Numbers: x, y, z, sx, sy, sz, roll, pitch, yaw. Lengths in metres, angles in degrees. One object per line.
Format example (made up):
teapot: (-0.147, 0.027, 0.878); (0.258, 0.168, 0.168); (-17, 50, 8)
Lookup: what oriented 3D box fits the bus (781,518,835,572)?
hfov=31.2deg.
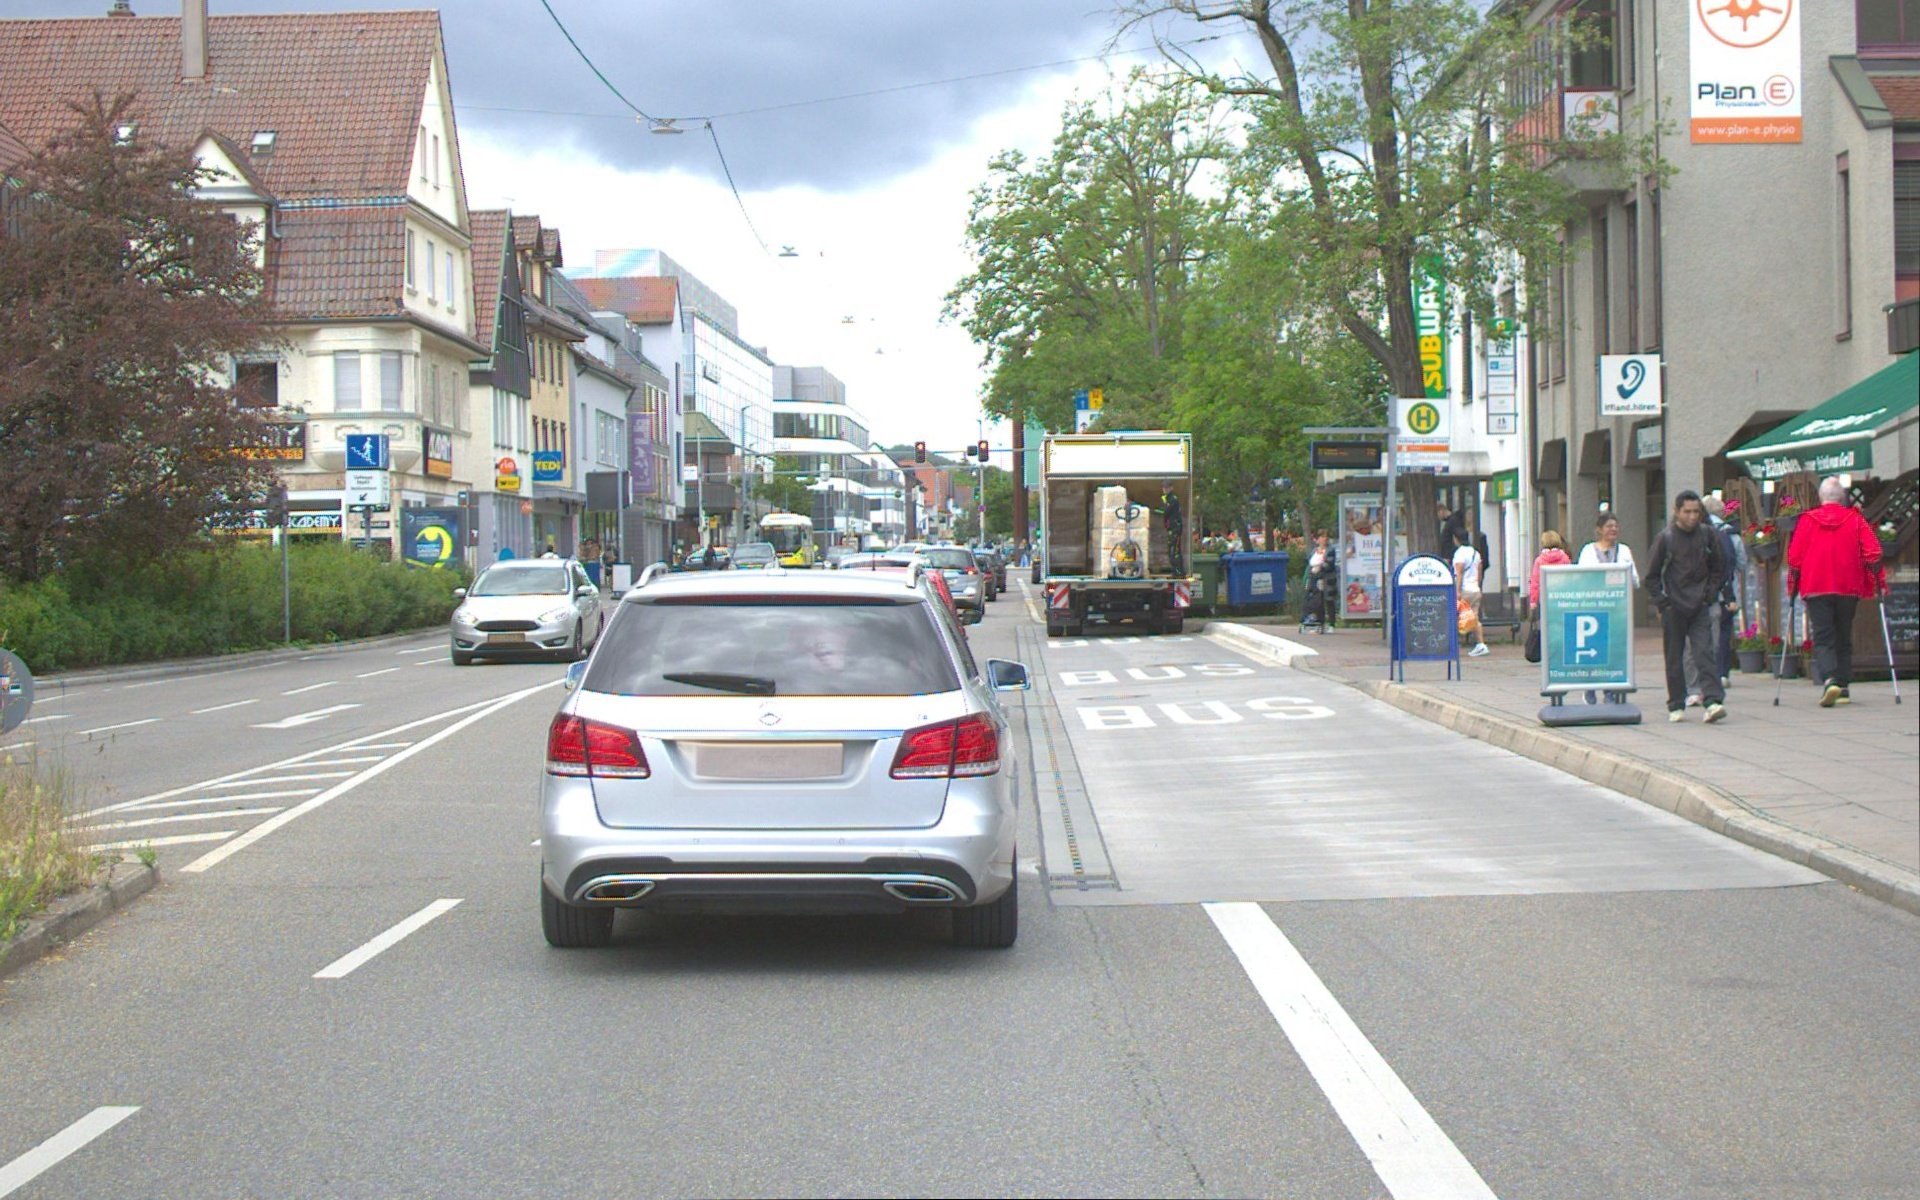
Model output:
bus: (-9.055, -3.303, 205.161); (2.775, 3.154, 5.933); (0, 1, 1)

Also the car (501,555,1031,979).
car: (-0.724, 0.569, 14.180); (1.874, 1.501, 4.000); (0, 1, -1)

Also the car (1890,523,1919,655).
car: (14.116, -0.135, 42.863); (4.605, 1.614, 1.880); (0, 1, 5)

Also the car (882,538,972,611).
car: (-0.748, -0.626, 81.187); (1.993, 1.678, 4.000); (0, 1, 1)

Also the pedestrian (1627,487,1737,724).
pedestrian: (5.213, 0.033, 24.836); (0.612, 1.672, 0.615); (3, 1, 3)

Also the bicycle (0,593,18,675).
bicycle: (-13.632, 0.457, 45.810); (2.017, 1.086, 0.649); (-1, 1, -9)

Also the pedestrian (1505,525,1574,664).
pedestrian: (6.656, -0.073, 39.461); (0.673, 1.562, 0.491); (2, 3, 21)

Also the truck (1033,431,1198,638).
truck: (2.774, -1.208, 63.876); (2.688, 3.549, 9.767); (0, 1, 1)

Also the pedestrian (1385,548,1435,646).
pedestrian: (6.543, -0.040, 49.949); (0.613, 1.396, 0.587); (-2, 0, 14)

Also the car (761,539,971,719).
car: (-0.798, 0.214, 31.437); (1.754, 1.515, 4.000); (-1, 1, 1)

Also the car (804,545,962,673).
car: (-1.011, 0.090, 47.325); (1.993, 1.678, 4.000); (0, 1, 1)

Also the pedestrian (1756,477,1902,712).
pedestrian: (6.633, -0.035, 26.271); (0.795, 1.736, 0.782); (-2, -1, -5)

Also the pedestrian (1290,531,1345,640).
pedestrian: (5.463, -0.224, 52.564); (0.534, 1.629, 0.588); (2, 1, -24)

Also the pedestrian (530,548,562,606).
pedestrian: (-11.803, -0.658, 98.109); (0.816, 1.629, 0.980); (2, 1, -4)

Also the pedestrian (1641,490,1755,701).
pedestrian: (5.808, -0.036, 27.077); (0.718, 1.629, 0.615); (-1, 0, -2)

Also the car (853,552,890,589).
car: (-3.813, -1.272, 147.851); (1.570, 1.535, 2.961); (1, 1, -2)

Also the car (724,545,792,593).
car: (-7.700, -1.197, 131.338); (2.069, 1.732, 4.692); (-2, 1, 3)

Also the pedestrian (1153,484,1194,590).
pedestrian: (3.614, -1.063, 58.186); (0.613, 1.774, 0.588); (-1, 0, -3)

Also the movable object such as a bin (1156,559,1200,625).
movable object such as a bin: (4.458, -0.172, 70.350); (0.881, 1.335, 1.085); (-1, 1, 3)

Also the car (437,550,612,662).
car: (-6.249, 0.068, 49.767); (1.874, 1.501, 4.343); (-2, 0, 1)

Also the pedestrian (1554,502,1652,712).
pedestrian: (5.102, 0.053, 27.297); (0.612, 1.629, 0.615); (-1, 0, -2)

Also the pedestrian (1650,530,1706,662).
pedestrian: (8.958, -0.057, 42.890); (0.586, 1.629, 0.615); (0, 1, 2)

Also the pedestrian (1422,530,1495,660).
pedestrian: (6.356, -0.074, 43.855); (0.613, 1.629, 0.794); (-1, 2, -21)

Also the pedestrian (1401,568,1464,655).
pedestrian: (6.374, 0.154, 46.398); (0.711, 1.162, 0.588); (0, 2, -6)

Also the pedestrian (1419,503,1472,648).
pedestrian: (6.918, -0.350, 48.928); (0.613, 2.040, 0.587); (-2, 0, 14)

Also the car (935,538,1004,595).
car: (0.306, -1.034, 104.009); (1.993, 1.678, 4.000); (0, 1, 1)

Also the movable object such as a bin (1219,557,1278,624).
movable object such as a bin: (5.876, -0.195, 70.111); (1.143, 1.335, 1.376); (-1, 1, 3)

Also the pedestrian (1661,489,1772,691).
pedestrian: (6.671, -0.085, 30.341); (0.682, 1.736, 0.782); (-2, -1, -4)

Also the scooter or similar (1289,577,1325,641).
scooter or similar: (5.267, 0.132, 52.141); (0.384, 0.955, 0.355); (-2, 1, -40)

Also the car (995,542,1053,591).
car: (2.228, -1.194, 120.139); (1.993, 1.678, 4.000); (0, 1, 1)
